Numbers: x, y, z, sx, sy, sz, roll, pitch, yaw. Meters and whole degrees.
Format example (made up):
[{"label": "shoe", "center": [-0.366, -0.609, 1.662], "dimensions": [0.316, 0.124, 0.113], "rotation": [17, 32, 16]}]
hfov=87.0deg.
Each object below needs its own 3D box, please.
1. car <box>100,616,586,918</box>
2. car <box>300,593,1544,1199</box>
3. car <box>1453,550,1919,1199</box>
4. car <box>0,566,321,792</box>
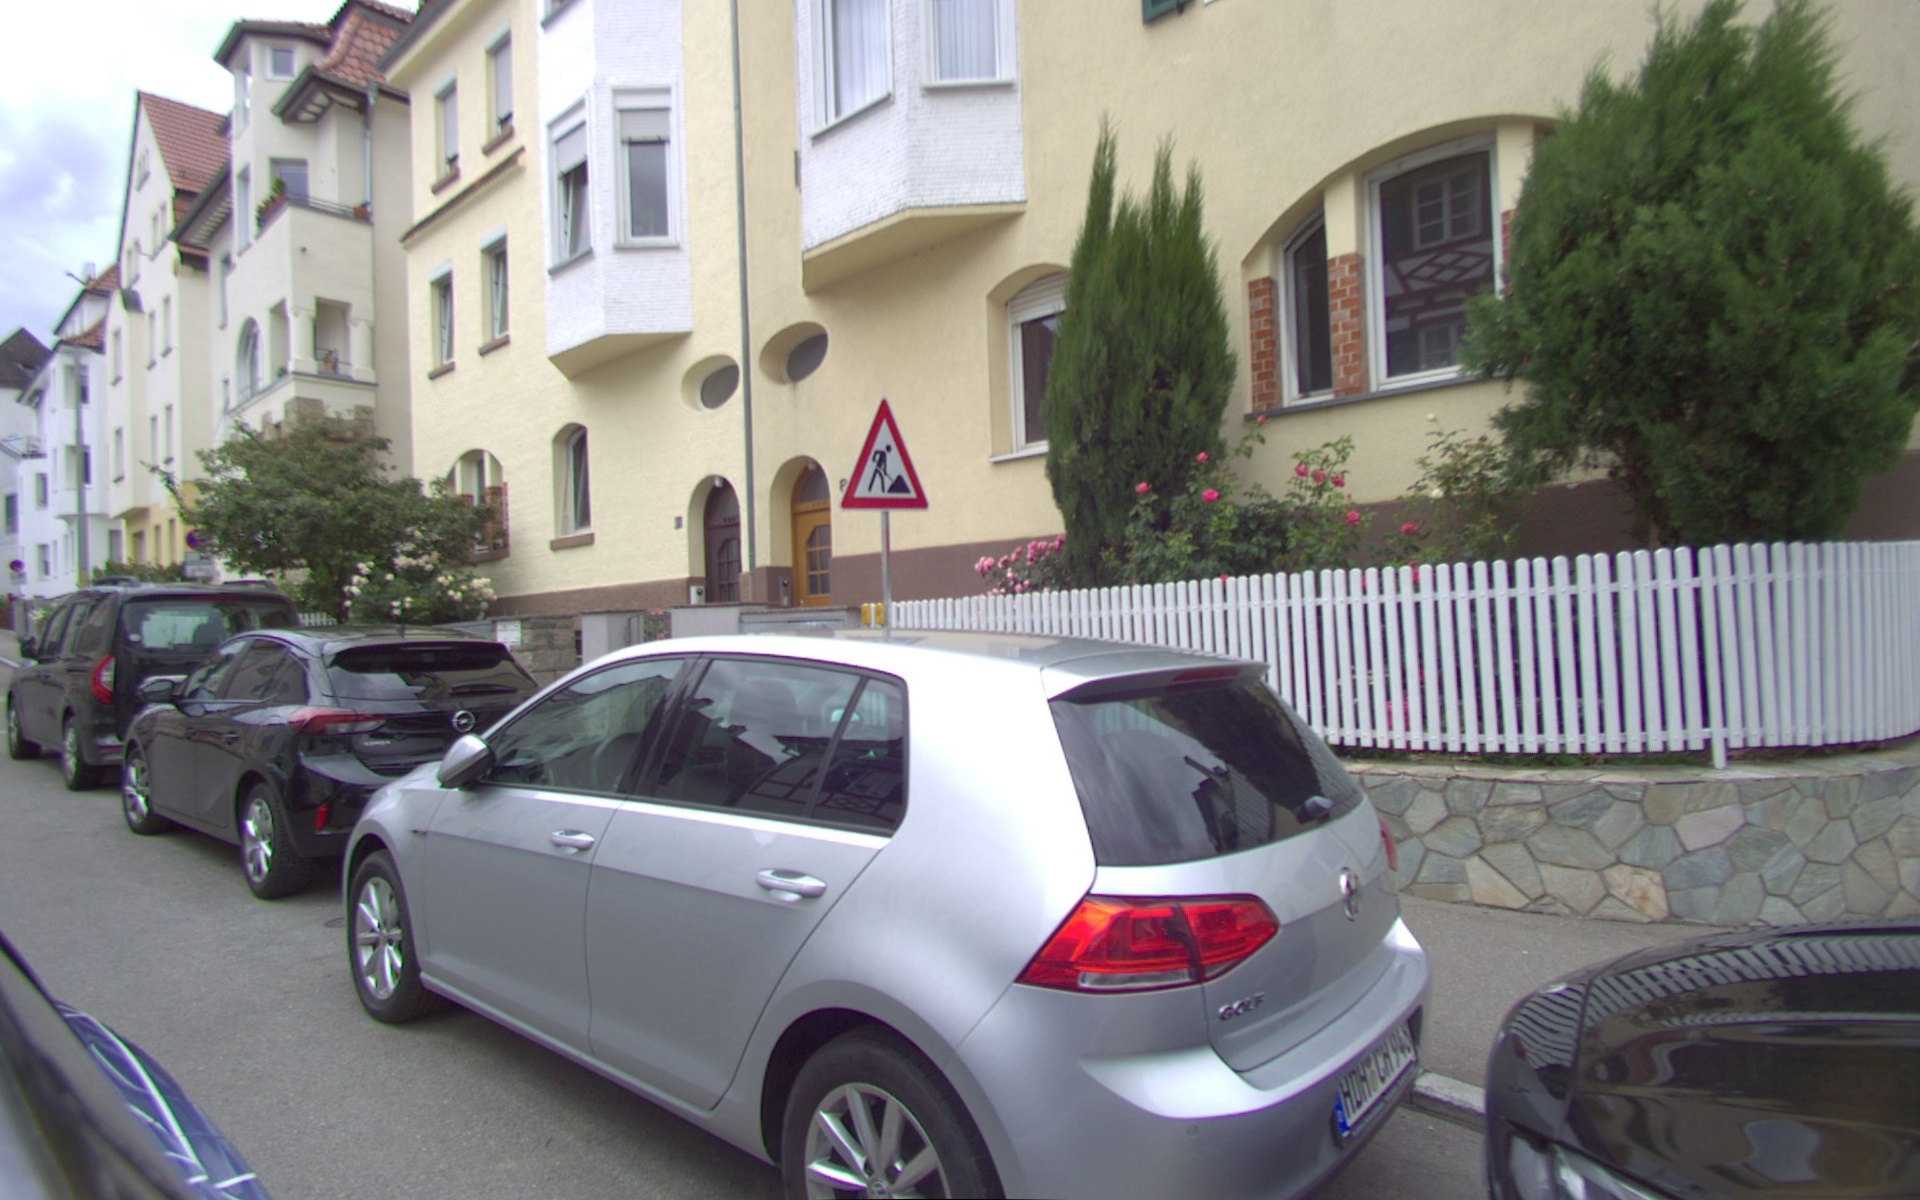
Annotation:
[{"label": "car", "center": [-4.164, 0.831, 6.607], "dimensions": [3.701, 1.409, 1.622], "rotation": [-1, -2, 41]}, {"label": "car", "center": [-0.571, 0.754, 3.357], "dimensions": [4.121, 1.439, 1.622], "rotation": [-1, -2, 41]}, {"label": "car", "center": [2.805, 0.664, 0.455], "dimensions": [4.326, 1.491, 1.784], "rotation": [-2, -1, 41]}, {"label": "car", "center": [-8.129, 0.656, 10.075], "dimensions": [4.144, 1.810, 1.732], "rotation": [0, -1, 39]}]
